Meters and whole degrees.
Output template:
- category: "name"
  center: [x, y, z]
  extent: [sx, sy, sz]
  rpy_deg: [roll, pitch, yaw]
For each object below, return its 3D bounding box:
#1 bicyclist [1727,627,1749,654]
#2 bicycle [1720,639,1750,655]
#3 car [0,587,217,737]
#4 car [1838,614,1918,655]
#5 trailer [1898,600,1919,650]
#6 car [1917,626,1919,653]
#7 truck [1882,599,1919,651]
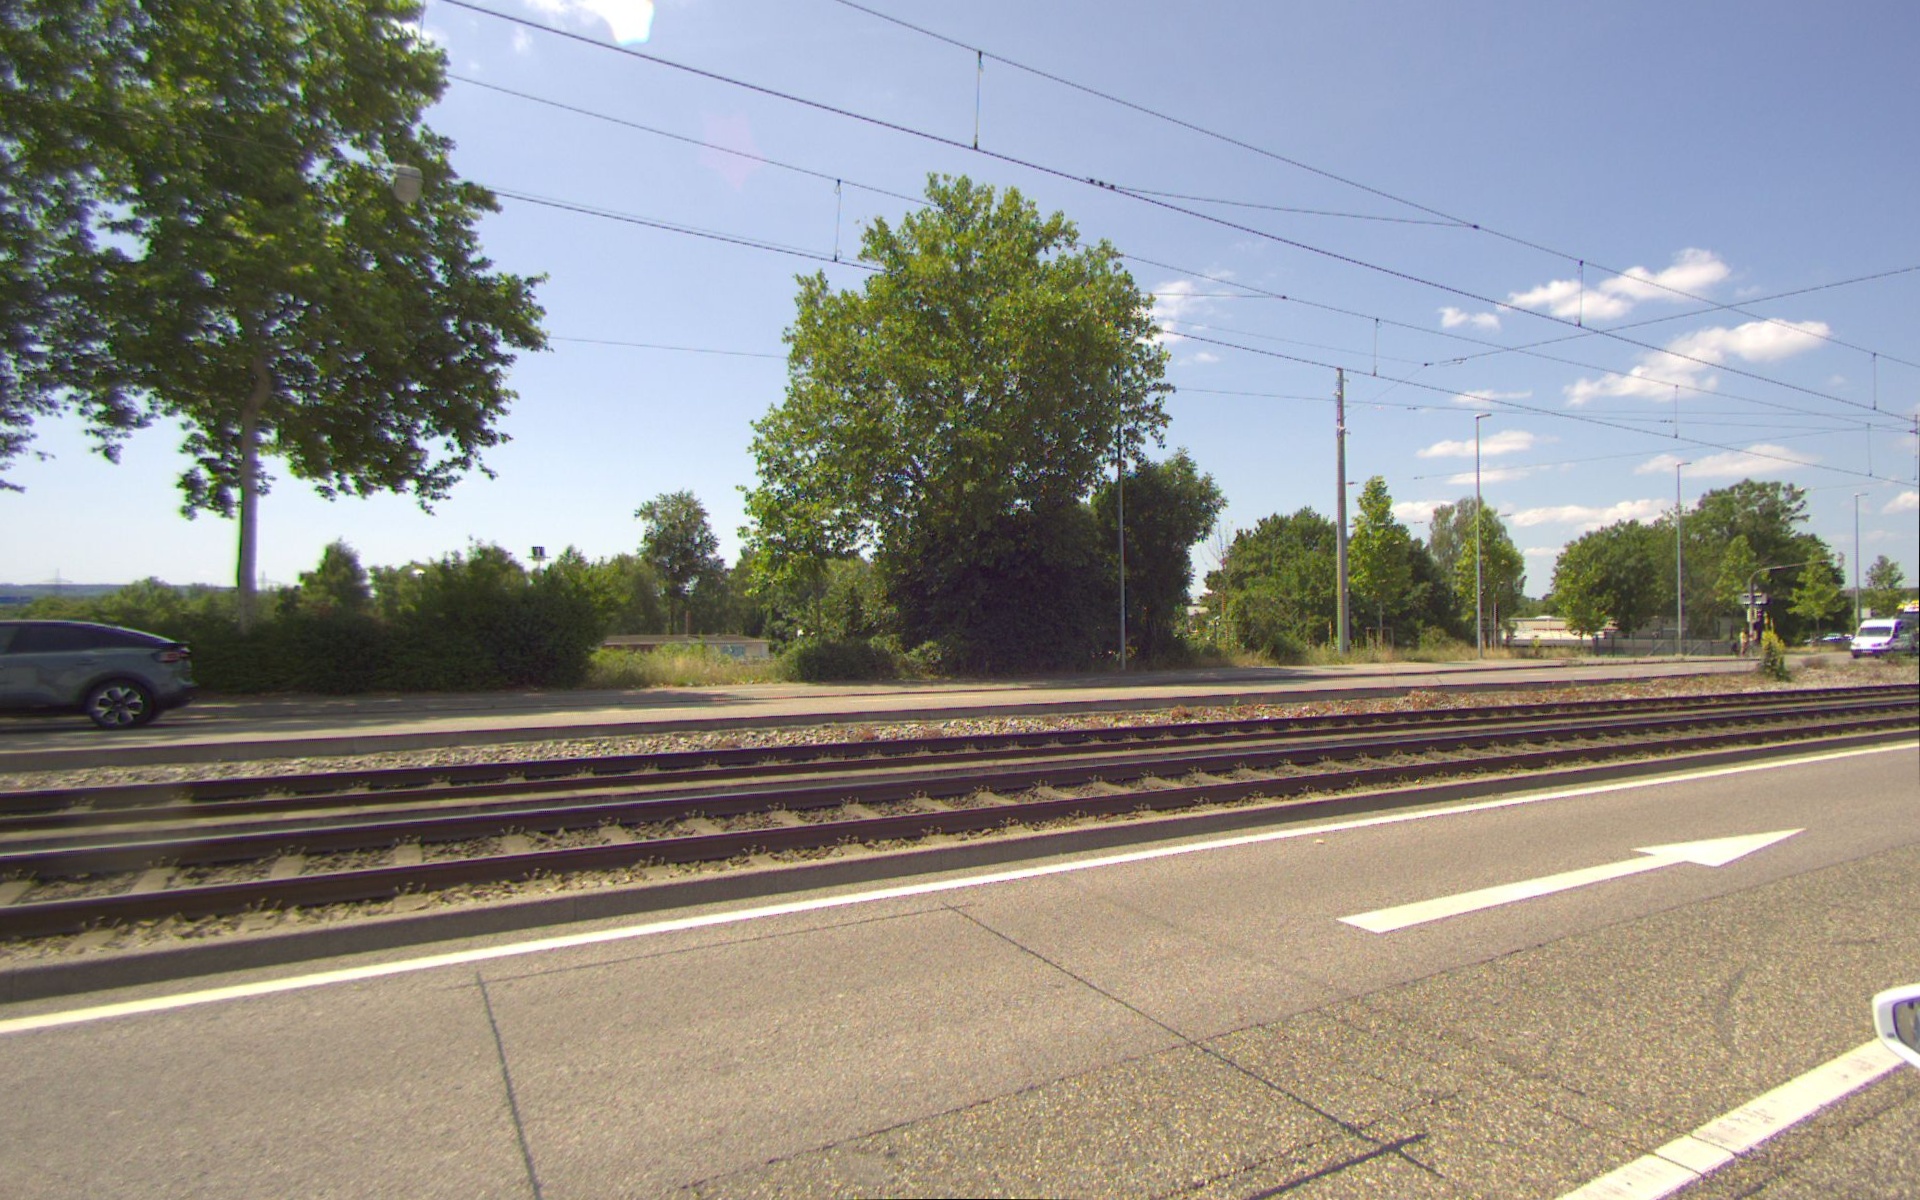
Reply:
- category: "bicyclist"
  center: [51.563, 2.681, 66.584]
  extent: [0.337, 1.798, 1.112]
  rpy_deg: [1, 0, -34]
- category: "bicycle"
  center: [51.498, 3.093, 66.730]
  extent: [0.481, 1.000, 1.482]
  rpy_deg: [1, 0, -33]
- category: "car"
  center: [-13.161, 0.813, 14.021]
  extent: [4.364, 1.944, 1.981]
  rpy_deg: [1, 1, -34]
- category: "car"
  center: [61.144, 2.279, 66.887]
  extent: [6.163, 2.623, 2.232]
  rpy_deg: [0, -3, -31]
- category: "trailer"
  center: [75.187, 1.936, 75.345]
  extent: [15.692, 3.565, 2.753]
  rpy_deg: [1, 0, -31]
- category: "car"
  center: [62.634, 2.522, 63.591]
  extent: [4.408, 1.693, 1.813]
  rpy_deg: [1, 0, -30]
- category: "truck"
  center: [68.625, 1.791, 71.449]
  extent: [6.364, 3.616, 2.754]
  rpy_deg: [1, 0, -31]
